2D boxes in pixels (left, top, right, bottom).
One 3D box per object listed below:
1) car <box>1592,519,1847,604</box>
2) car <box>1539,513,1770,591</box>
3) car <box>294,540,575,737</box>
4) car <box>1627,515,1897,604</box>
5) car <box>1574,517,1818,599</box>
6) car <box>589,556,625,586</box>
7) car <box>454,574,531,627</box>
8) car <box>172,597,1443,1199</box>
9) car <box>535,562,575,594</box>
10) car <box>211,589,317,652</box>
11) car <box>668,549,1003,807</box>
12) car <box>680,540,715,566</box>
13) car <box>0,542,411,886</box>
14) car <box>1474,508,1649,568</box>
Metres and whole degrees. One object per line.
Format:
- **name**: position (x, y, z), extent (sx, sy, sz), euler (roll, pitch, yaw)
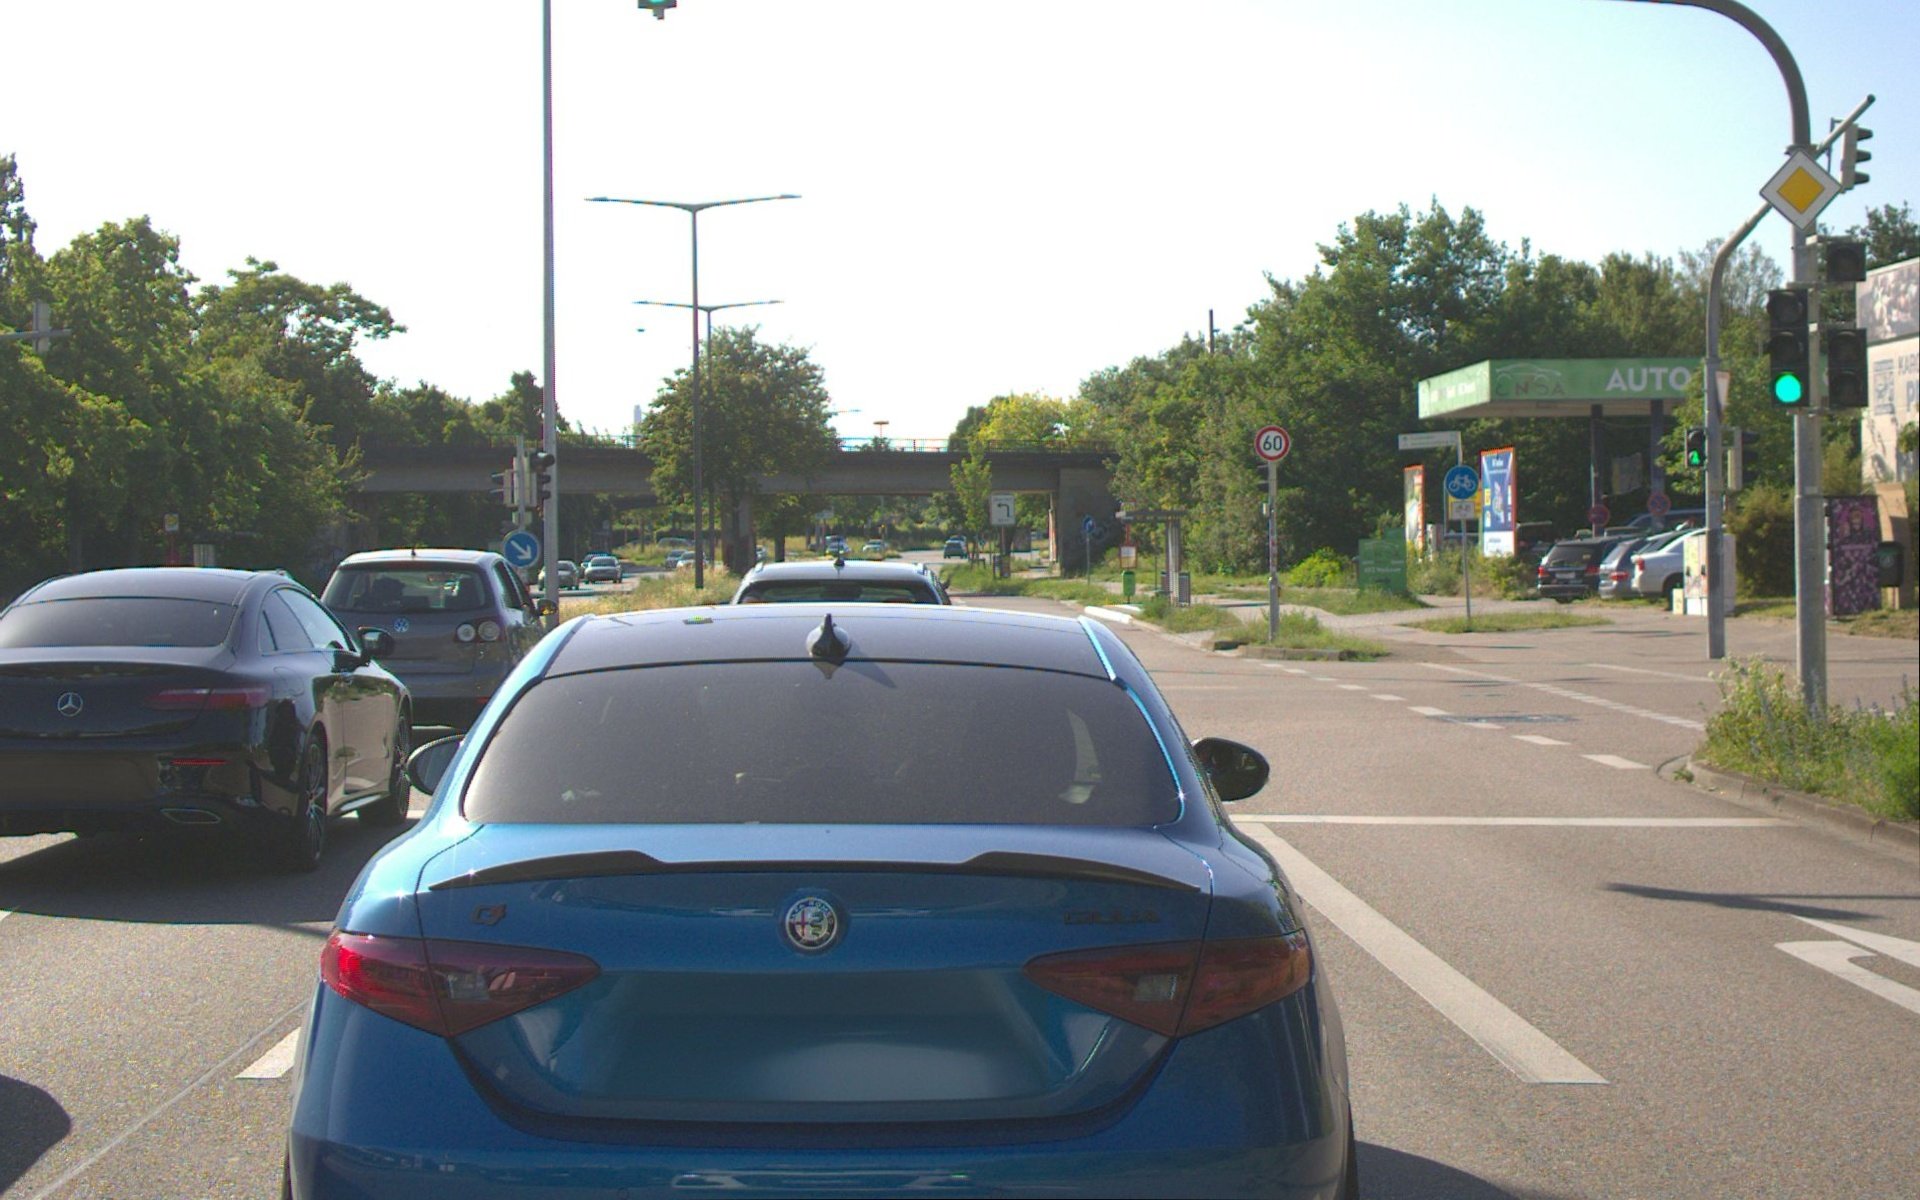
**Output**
- **car**: position (14.667, -0.745, 66.538), extent (4.489, 1.449, 1.858), euler (-2, 0, 1)
- **car**: position (14.666, -1.010, 72.766), extent (4.489, 1.449, 1.858), euler (-2, 0, 1)
- **car**: position (-4.278, 0.287, 28.568), extent (1.759, 1.485, 4.403), euler (1, 0, -2)
- **car**: position (14.705, -0.741, 63.176), extent (4.489, 1.449, 1.858), euler (-2, 0, 1)
- **car**: position (14.815, -0.845, 69.370), extent (4.489, 1.449, 1.858), euler (-2, 0, 1)
- **car**: position (-19.402, -1.597, 189.096), extent (1.609, 1.641, 3.463), euler (1, 0, -1)
- **car**: position (-13.951, -0.012, 102.697), extent (1.759, 1.485, 3.837), euler (-2, 0, 0)
- **car**: position (-0.292, 0.720, 7.364), extent (1.895, 1.413, 4.403), euler (1, 0, -2)
- **car**: position (-19.913, -1.069, 169.155), extent (1.615, 1.554, 3.358), euler (1, 0, -1)
- **car**: position (-17.696, 0.508, 87.564), extent (1.759, 1.485, 4.478), euler (-2, 0, 0)
- **car**: position (-0.756, 0.429, 21.401), extent (1.850, 1.413, 4.403), euler (1, 0, -2)
- **car**: position (-15.722, -2.794, 205.862), extent (1.759, 1.485, 4.478), euler (-2, 0, 0)
- **car**: position (-3.957, 0.486, 17.247), extent (1.796, 1.485, 4.476), euler (1, 0, -2)
- **car**: position (16.810, -1.720, 96.154), extent (4.551, 1.485, 1.765), euler (-2, 0, 1)
